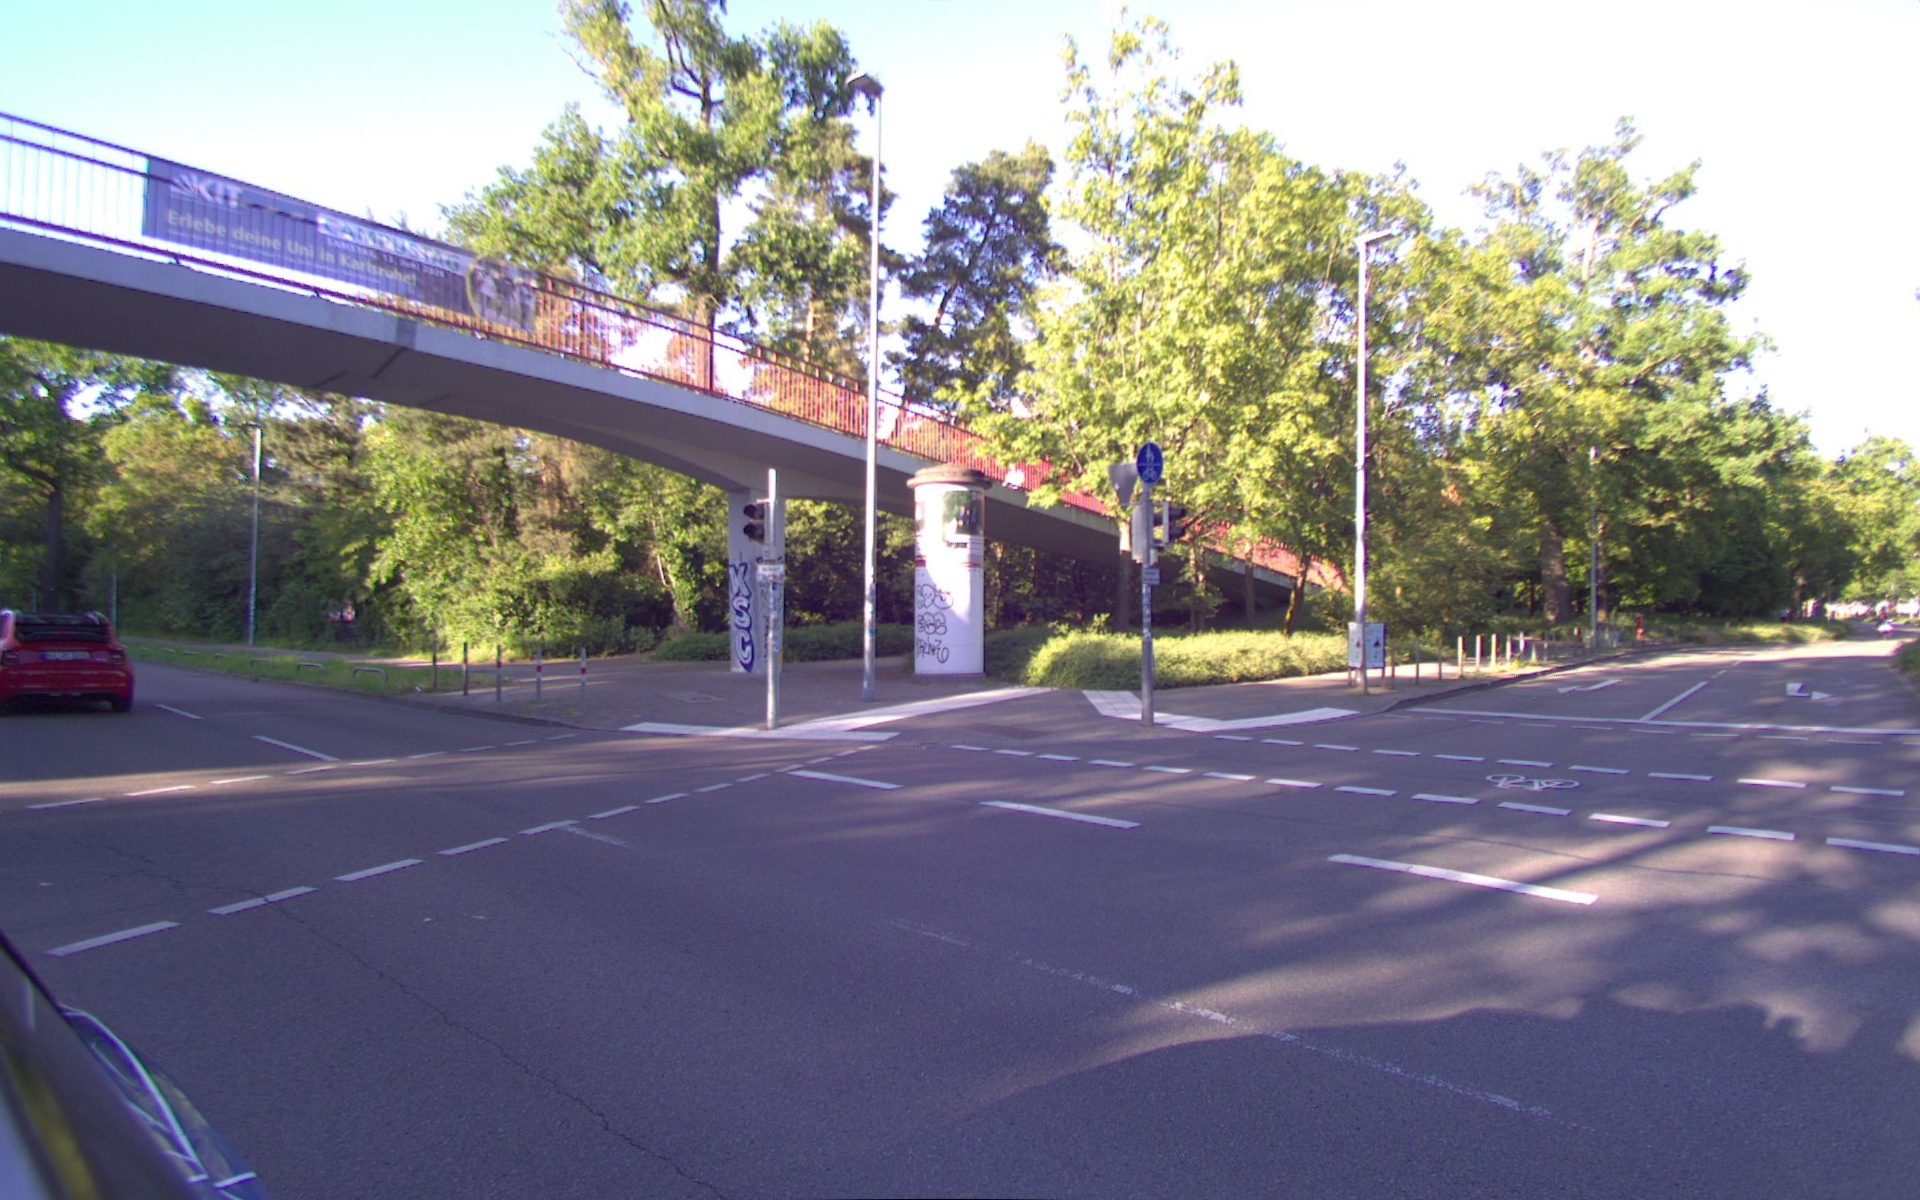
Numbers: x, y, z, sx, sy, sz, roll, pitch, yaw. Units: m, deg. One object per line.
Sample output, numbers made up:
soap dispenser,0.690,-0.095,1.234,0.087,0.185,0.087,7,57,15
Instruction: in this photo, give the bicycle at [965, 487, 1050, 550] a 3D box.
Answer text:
bicycle,1.402,-2.344,29.543,1.052,1.383,2.413,0,-7,44

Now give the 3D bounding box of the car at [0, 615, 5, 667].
car,-30.187,1.165,30.270,4.646,1.517,1.940,0,-2,42

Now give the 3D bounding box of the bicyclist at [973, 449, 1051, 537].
bicyclist,1.514,-3.073,29.426,1.412,2.185,1.660,0,-5,43

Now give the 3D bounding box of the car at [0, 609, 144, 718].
car,-13.893,0.908,15.357,3.638,1.467,1.732,-1,-3,42
